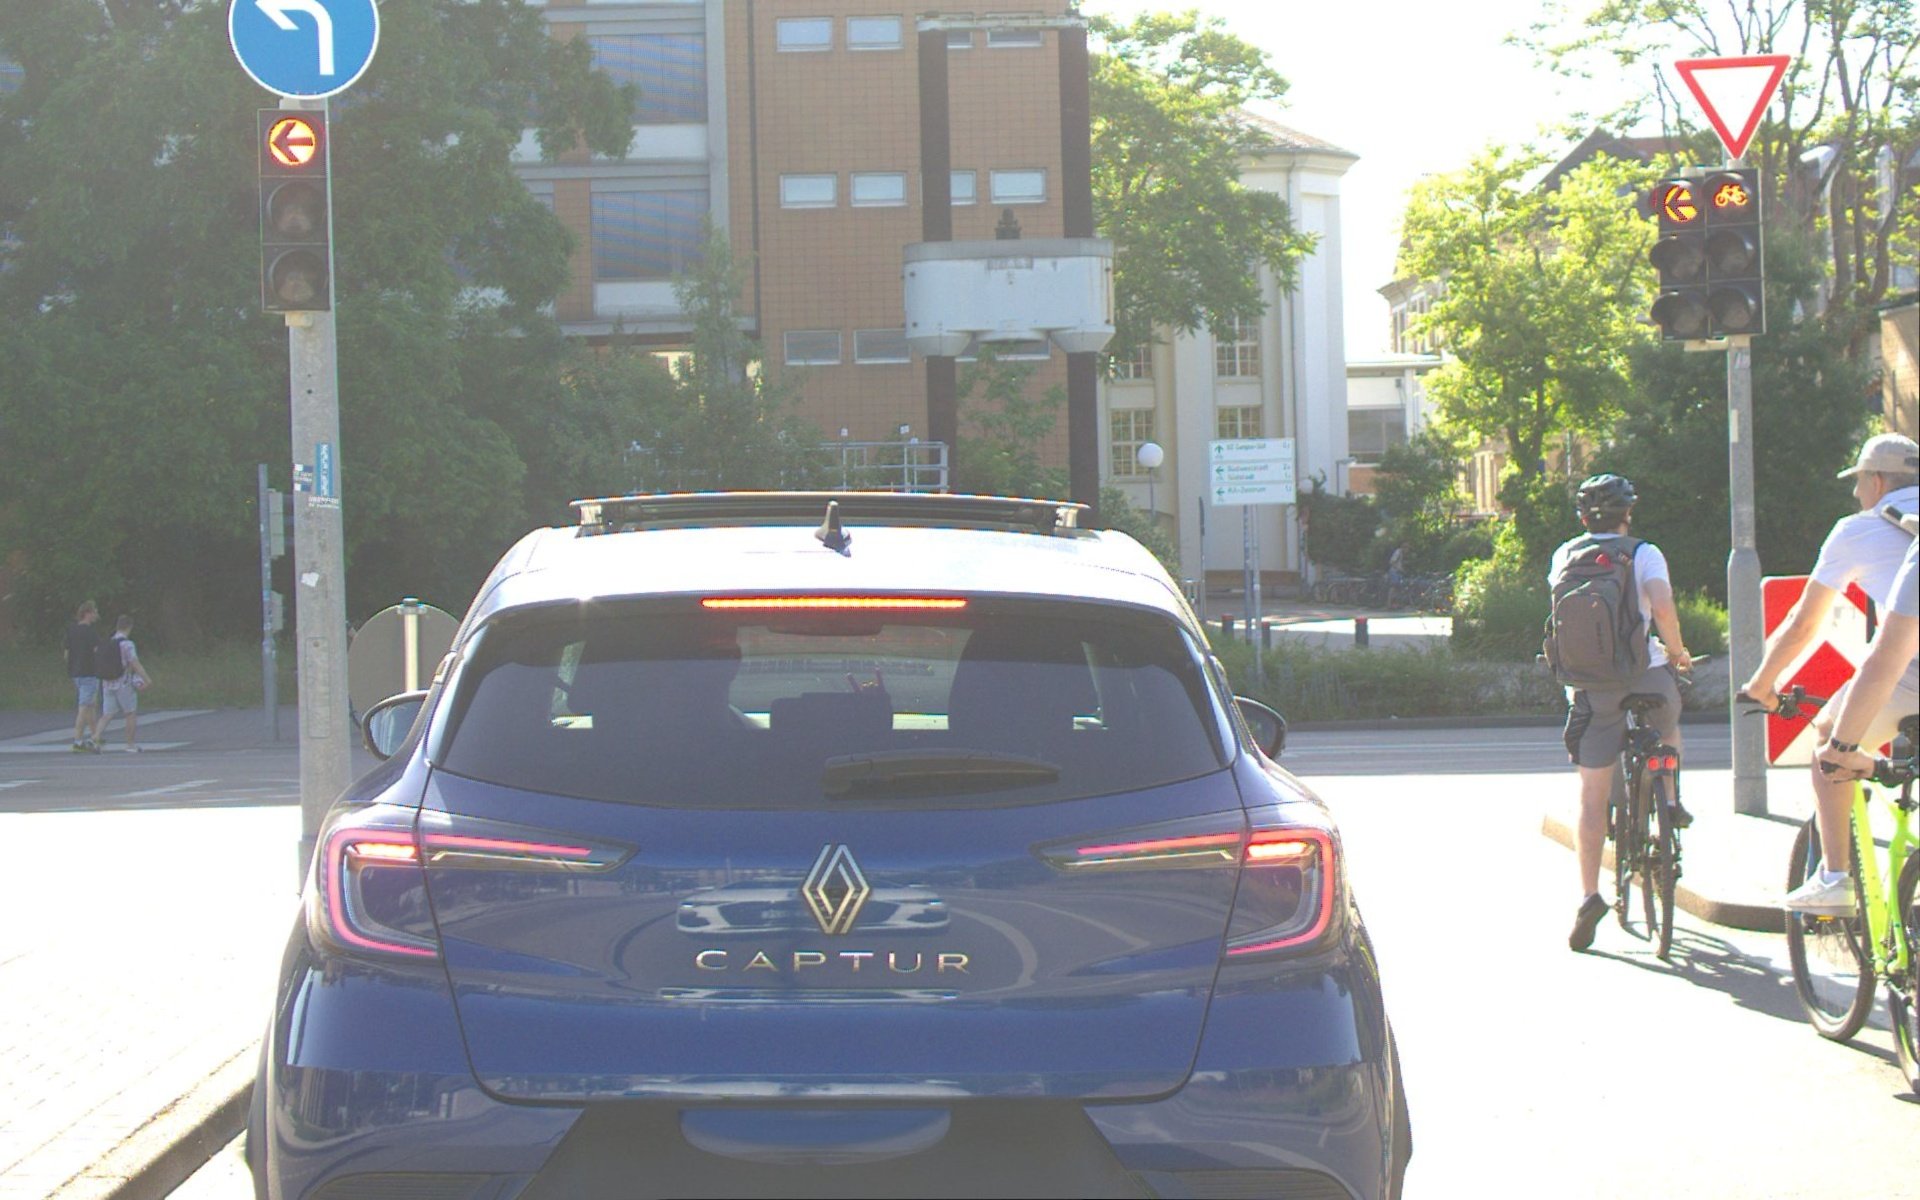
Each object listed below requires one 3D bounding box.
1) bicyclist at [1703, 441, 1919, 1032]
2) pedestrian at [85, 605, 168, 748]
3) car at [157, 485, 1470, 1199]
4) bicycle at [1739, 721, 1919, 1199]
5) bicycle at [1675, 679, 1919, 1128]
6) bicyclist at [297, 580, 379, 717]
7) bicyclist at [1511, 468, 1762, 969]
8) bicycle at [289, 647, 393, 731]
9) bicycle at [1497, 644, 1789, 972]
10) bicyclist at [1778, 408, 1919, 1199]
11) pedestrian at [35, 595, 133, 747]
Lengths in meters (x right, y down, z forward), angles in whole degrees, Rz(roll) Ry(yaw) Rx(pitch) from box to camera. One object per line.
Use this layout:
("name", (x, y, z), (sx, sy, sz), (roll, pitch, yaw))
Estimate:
("bicyclist", (2.595, 0.360, 9.826), (0.678, 1.589, 1.142), (0, 1, -1))
("pedestrian", (-10.279, 0.939, 42.401), (0.681, 1.724, 0.760), (-1, 1, 13))
("car", (-0.277, 0.611, 6.648), (1.788, 1.580, 3.915), (0, 1, -2))
("bicycle", (2.234, 0.846, 7.335), (0.689, 1.085, 1.922), (0, 1, -1))
("bicycle", (2.590, 0.801, 9.790), (0.689, 1.085, 1.922), (0, 1, -1))
("bicyclist", (-7.914, 0.607, 43.794), (0.755, 1.710, 0.998), (-1, 1, 5))
("bicyclist", (2.505, 0.417, 12.833), (0.699, 1.785, 1.142), (0, 1, -1))
("bicycle", (-7.893, 1.122, 43.905), (0.755, 0.981, 2.093), (-1, 1, 5))
("bicycle", (2.515, 0.731, 12.860), (0.689, 1.085, 1.922), (0, 1, -1))
("bicyclist", (2.239, 0.504, 7.377), (0.683, 1.785, 1.142), (0, 1, -1))
("pedestrian", (-10.940, 0.876, 42.945), (0.814, 1.856, 0.909), (-1, 1, 13))
